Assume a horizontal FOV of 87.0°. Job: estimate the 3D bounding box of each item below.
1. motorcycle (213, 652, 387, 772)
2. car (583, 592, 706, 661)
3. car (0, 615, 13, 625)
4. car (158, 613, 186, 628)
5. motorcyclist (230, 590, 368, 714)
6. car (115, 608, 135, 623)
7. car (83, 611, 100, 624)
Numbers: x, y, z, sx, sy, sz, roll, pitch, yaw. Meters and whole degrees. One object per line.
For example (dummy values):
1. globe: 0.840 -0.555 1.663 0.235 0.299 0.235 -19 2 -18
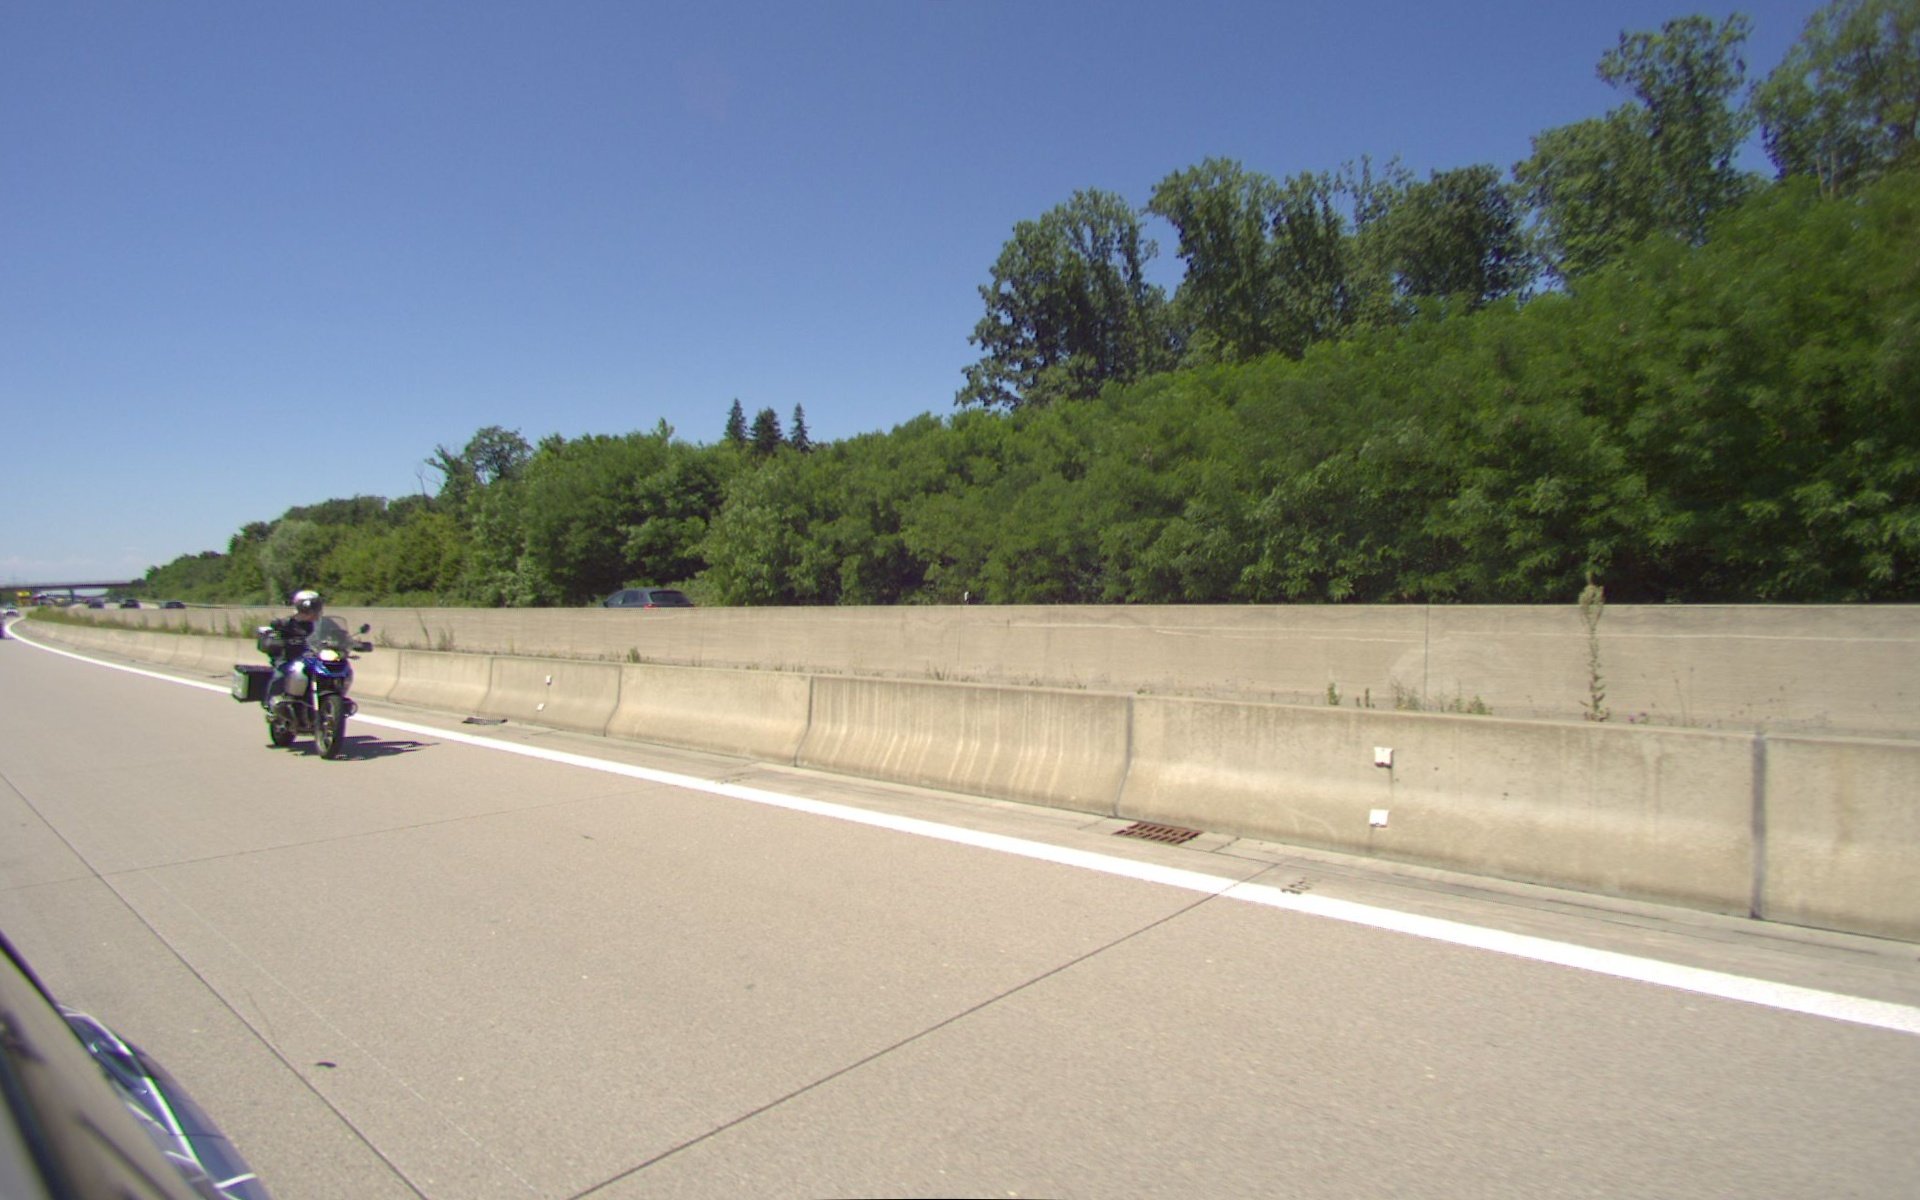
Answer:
1. motorcycle: -7.005 1.107 10.678 2.413 1.057 1.010 -1 -2 44
2. car: -9.103 0.741 29.059 3.882 1.847 1.681 -1 -1 43
3. car: -143.268 2.987 151.794 3.676 1.586 1.558 -1 0 44
4. car: -74.379 1.894 95.509 3.642 1.336 1.595 -1 1 44
5. motorcyclist: -6.905 0.529 10.579 0.911 1.218 1.013 -2 -3 43
6. car: -108.667 1.993 131.745 1.640 1.936 4.141 -1 0 -44
7. car: -132.235 2.724 154.049 1.640 1.936 4.009 -1 0 -44
